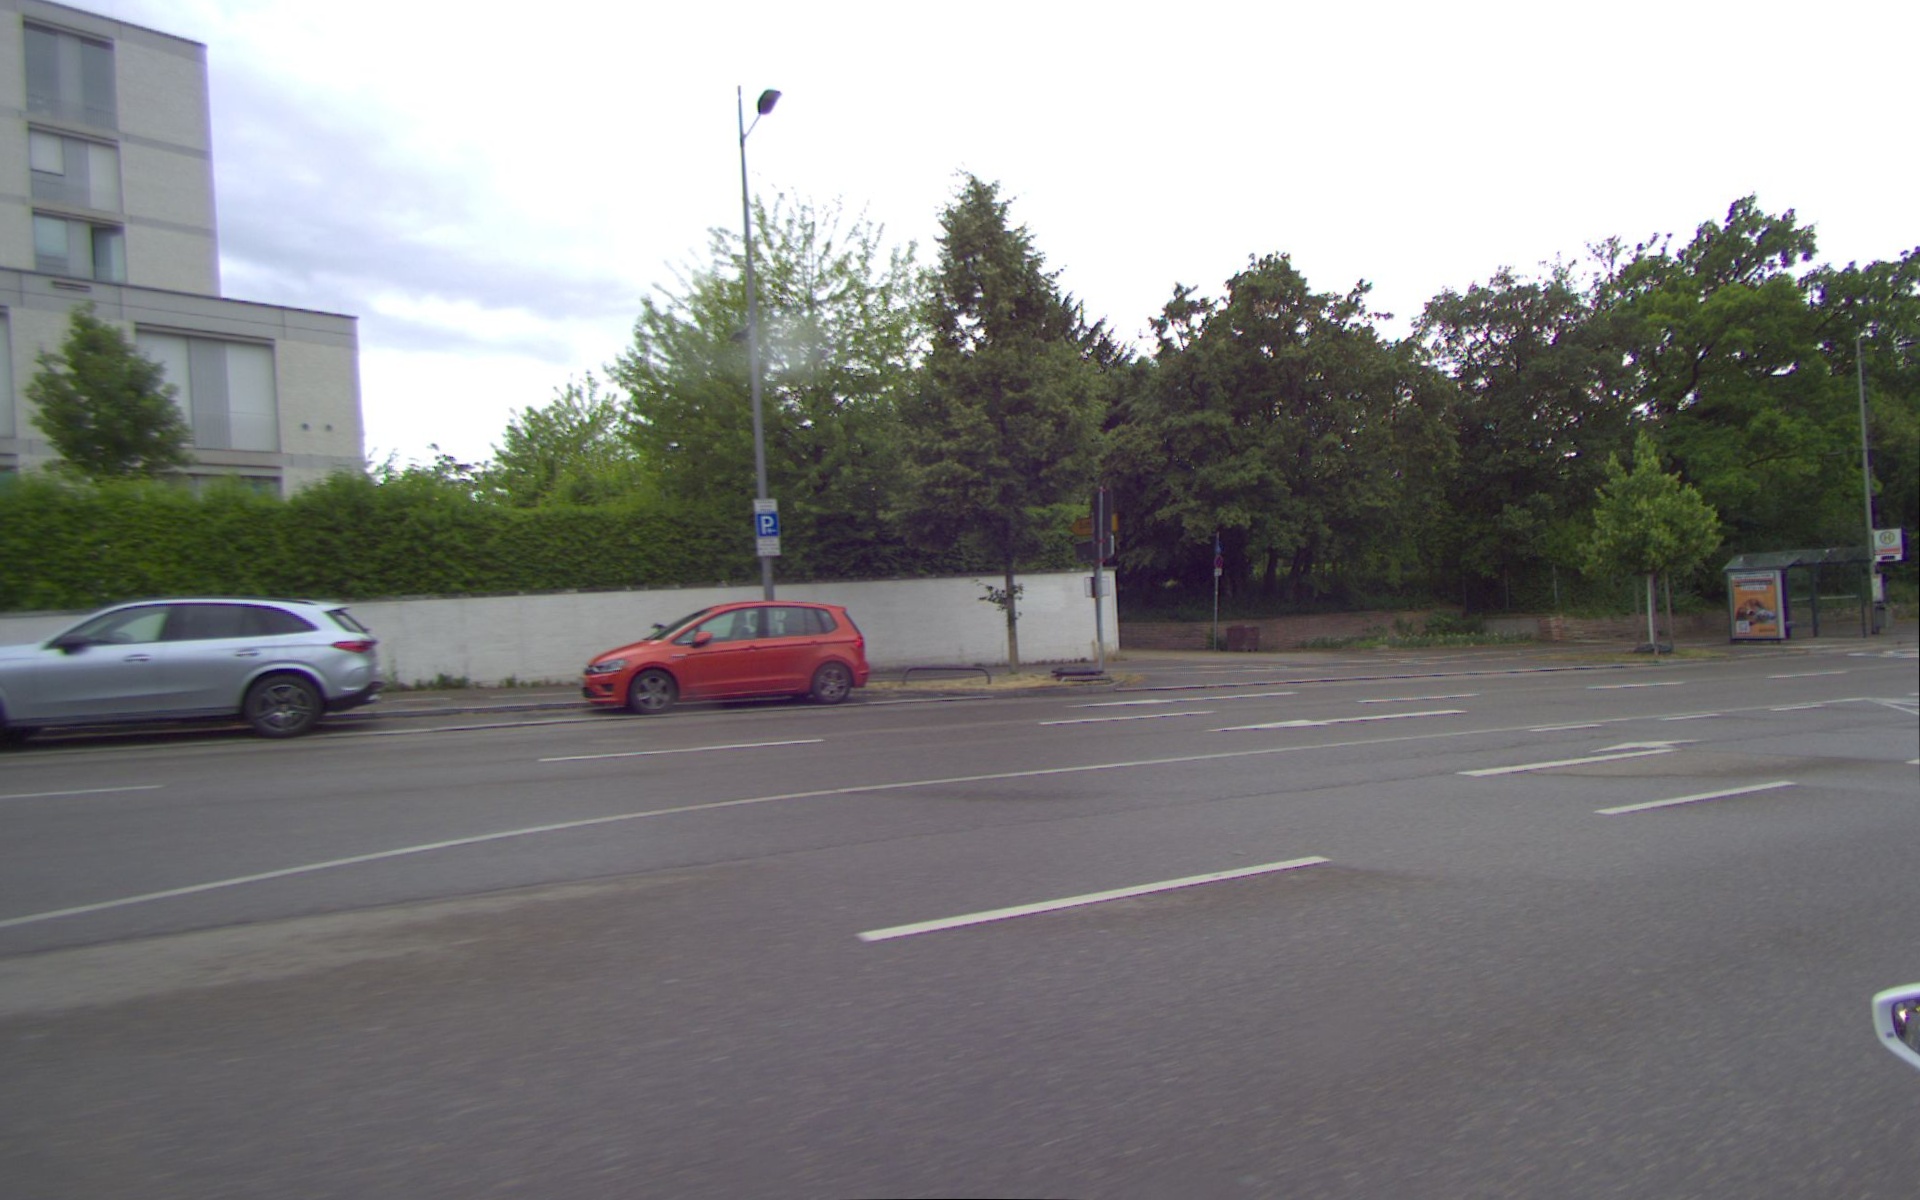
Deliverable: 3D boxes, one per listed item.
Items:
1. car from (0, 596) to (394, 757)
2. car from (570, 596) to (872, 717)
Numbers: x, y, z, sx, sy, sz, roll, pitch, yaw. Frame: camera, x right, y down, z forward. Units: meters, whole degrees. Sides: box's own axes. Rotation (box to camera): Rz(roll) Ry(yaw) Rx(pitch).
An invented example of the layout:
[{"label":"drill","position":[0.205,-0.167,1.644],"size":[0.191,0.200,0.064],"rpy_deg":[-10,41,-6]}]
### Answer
[{"label":"car","position":[-9.441,0.805,11.779],"size":[4.823,1.675,1.756],"rpy_deg":[0,0,-29]},{"label":"car","position":[-3.567,0.786,15.151],"size":[4.165,1.607,1.658],"rpy_deg":[0,-2,-29]}]
